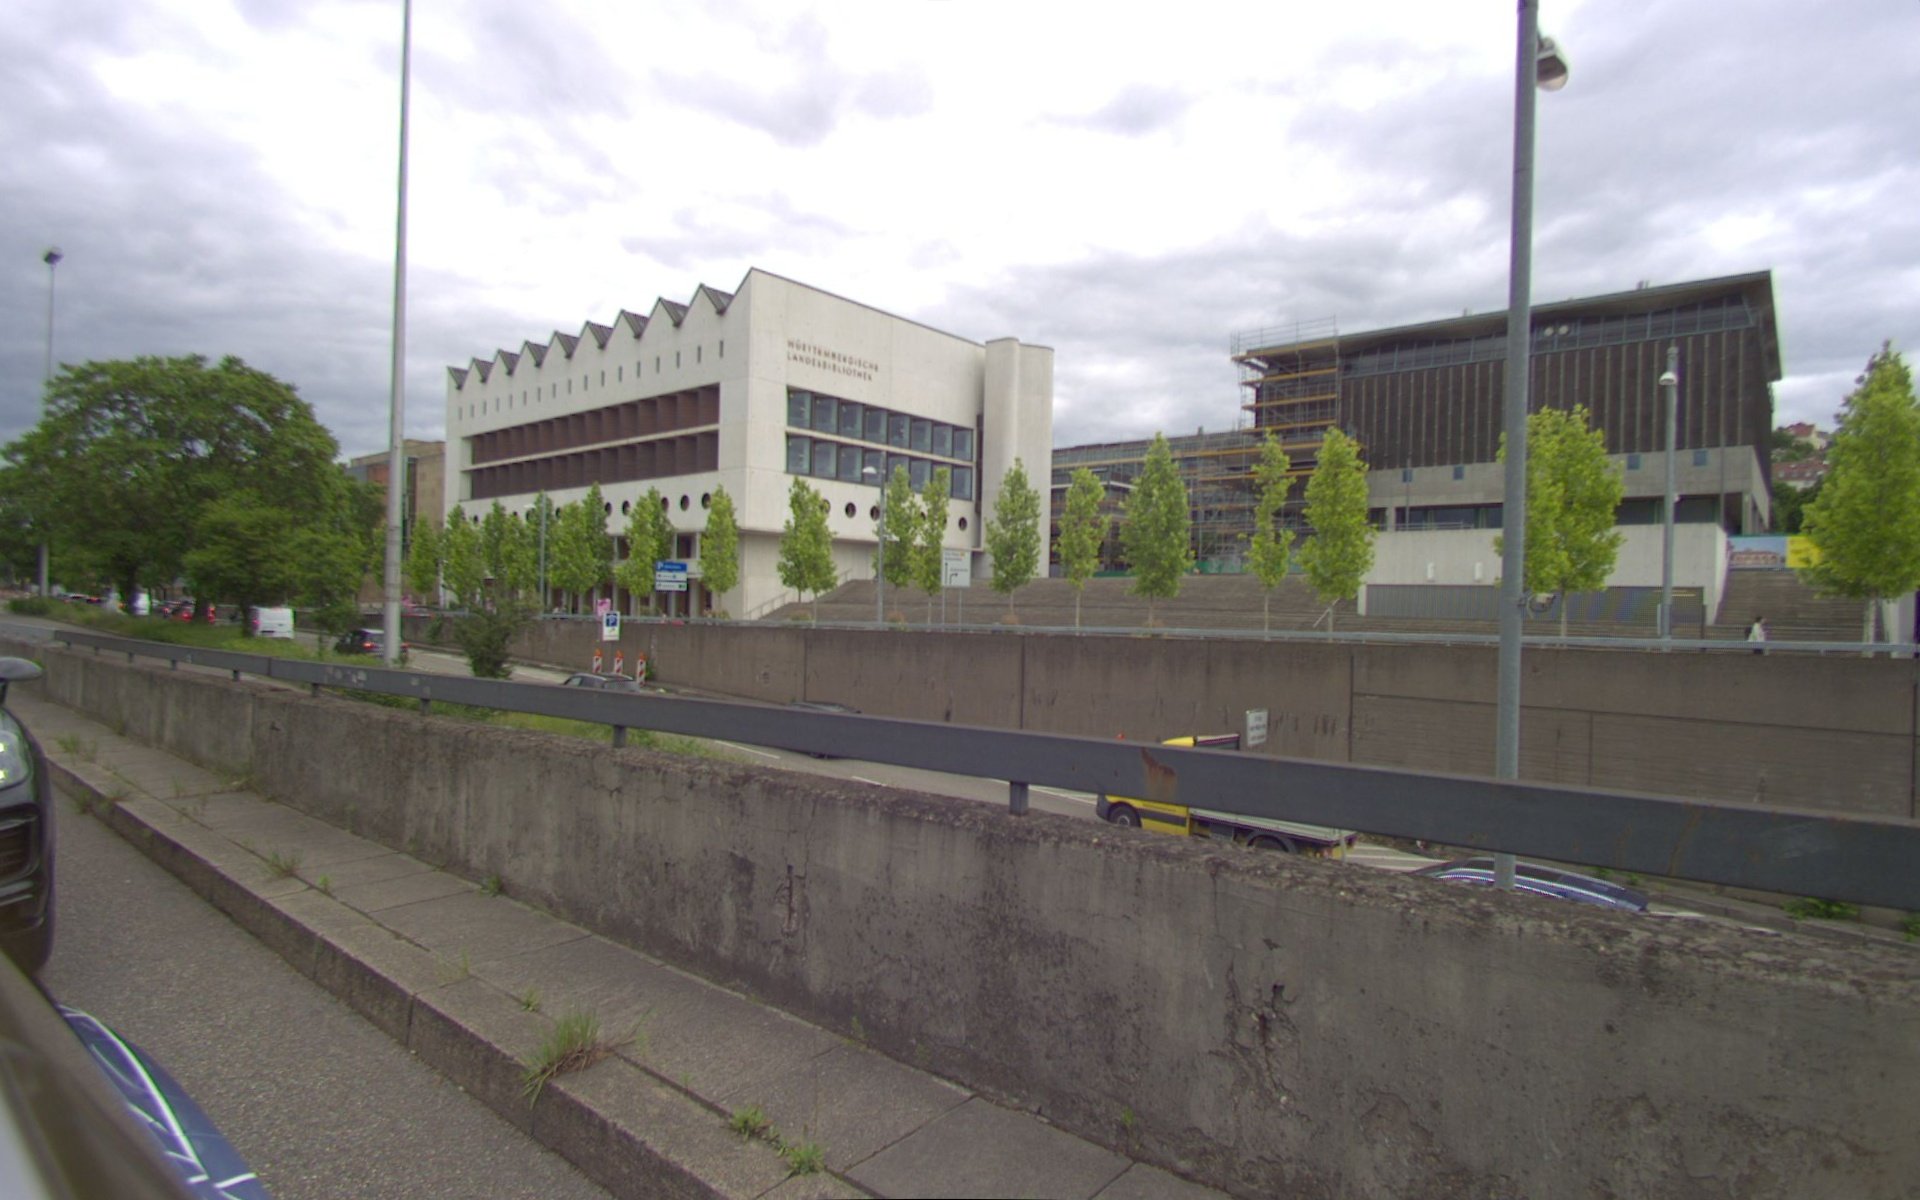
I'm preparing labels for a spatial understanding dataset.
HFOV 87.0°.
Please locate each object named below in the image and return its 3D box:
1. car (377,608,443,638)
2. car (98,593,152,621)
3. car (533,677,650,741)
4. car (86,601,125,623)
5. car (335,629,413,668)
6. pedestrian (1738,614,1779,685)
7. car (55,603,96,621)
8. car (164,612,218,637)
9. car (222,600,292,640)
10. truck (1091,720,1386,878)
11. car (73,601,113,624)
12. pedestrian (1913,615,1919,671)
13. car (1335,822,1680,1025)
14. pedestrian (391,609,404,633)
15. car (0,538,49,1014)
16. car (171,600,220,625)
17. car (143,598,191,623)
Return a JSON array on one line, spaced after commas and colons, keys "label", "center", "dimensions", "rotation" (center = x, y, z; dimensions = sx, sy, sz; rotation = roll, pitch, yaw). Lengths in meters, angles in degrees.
[{"label": "car", "center": [-35.304, 1.471, 64.948], "dimensions": [4.732, 1.869, 2.152], "rotation": [-1, -2, 40]}, {"label": "car", "center": [-59.908, 0.505, 72.575], "dimensions": [5.247, 1.651, 1.973], "rotation": [2, -5, 41]}, {"label": "car", "center": [-11.630, 3.377, 31.893], "dimensions": [3.903, 1.553, 1.696], "rotation": [1, 2, 39]}, {"label": "car", "center": [-74.368, 1.032, 88.066], "dimensions": [3.998, 1.776, 1.973], "rotation": [0, -3, 41]}, {"label": "car", "center": [-26.057, 2.127, 44.971], "dimensions": [3.999, 1.560, 1.855], "rotation": [0, -1, 42]}, {"label": "pedestrian", "center": [23.314, 1.443, 29.548], "dimensions": [0.793, 2.029, 0.730], "rotation": [-3, -3, 44]}, {"label": "car", "center": [-74.115, 0.991, 84.773], "dimensions": [3.998, 1.409, 1.973], "rotation": [0, -4, 41]}, {"label": "car", "center": [-48.167, 1.543, 63.369], "dimensions": [3.999, 1.497, 1.972], "rotation": [-1, -2, 42]}, {"label": "car", "center": [-37.893, 1.079, 54.484], "dimensions": [5.118, 2.029, 2.193], "rotation": [-1, -2, 45]}, {"label": "truck", "center": [5.579, 3.873, 20.747], "dimensions": [5.373, 2.419, 2.161], "rotation": [-2, -2, 39]}, {"label": "car", "center": [-69.402, 0.992, 80.991], "dimensions": [4.144, 1.500, 1.757], "rotation": [3, 0, 40]}, {"label": "pedestrian", "center": [28.438, 1.247, 29.570], "dimensions": [0.793, 1.655, 0.730], "rotation": [-3, -3, 44]}, {"label": "car", "center": [7.892, 4.523, 14.807], "dimensions": [4.167, 1.582, 1.792], "rotation": [1, 2, 41]}, {"label": "pedestrian", "center": [-48.159, 1.792, 86.637], "dimensions": [1.016, 2.029, 0.712], "rotation": [1, 1, 42]}, {"label": "car", "center": [-5.500, 0.585, 4.440], "dimensions": [4.733, 1.602, 1.879], "rotation": [0, 0, 44]}, {"label": "car", "center": [-54.966, 0.882, 72.753], "dimensions": [4.141, 1.500, 1.758], "rotation": [3, 0, 38]}, {"label": "car", "center": [-61.117, 0.820, 77.960], "dimensions": [4.385, 1.624, 1.852], "rotation": [4, 0, 38]}]
